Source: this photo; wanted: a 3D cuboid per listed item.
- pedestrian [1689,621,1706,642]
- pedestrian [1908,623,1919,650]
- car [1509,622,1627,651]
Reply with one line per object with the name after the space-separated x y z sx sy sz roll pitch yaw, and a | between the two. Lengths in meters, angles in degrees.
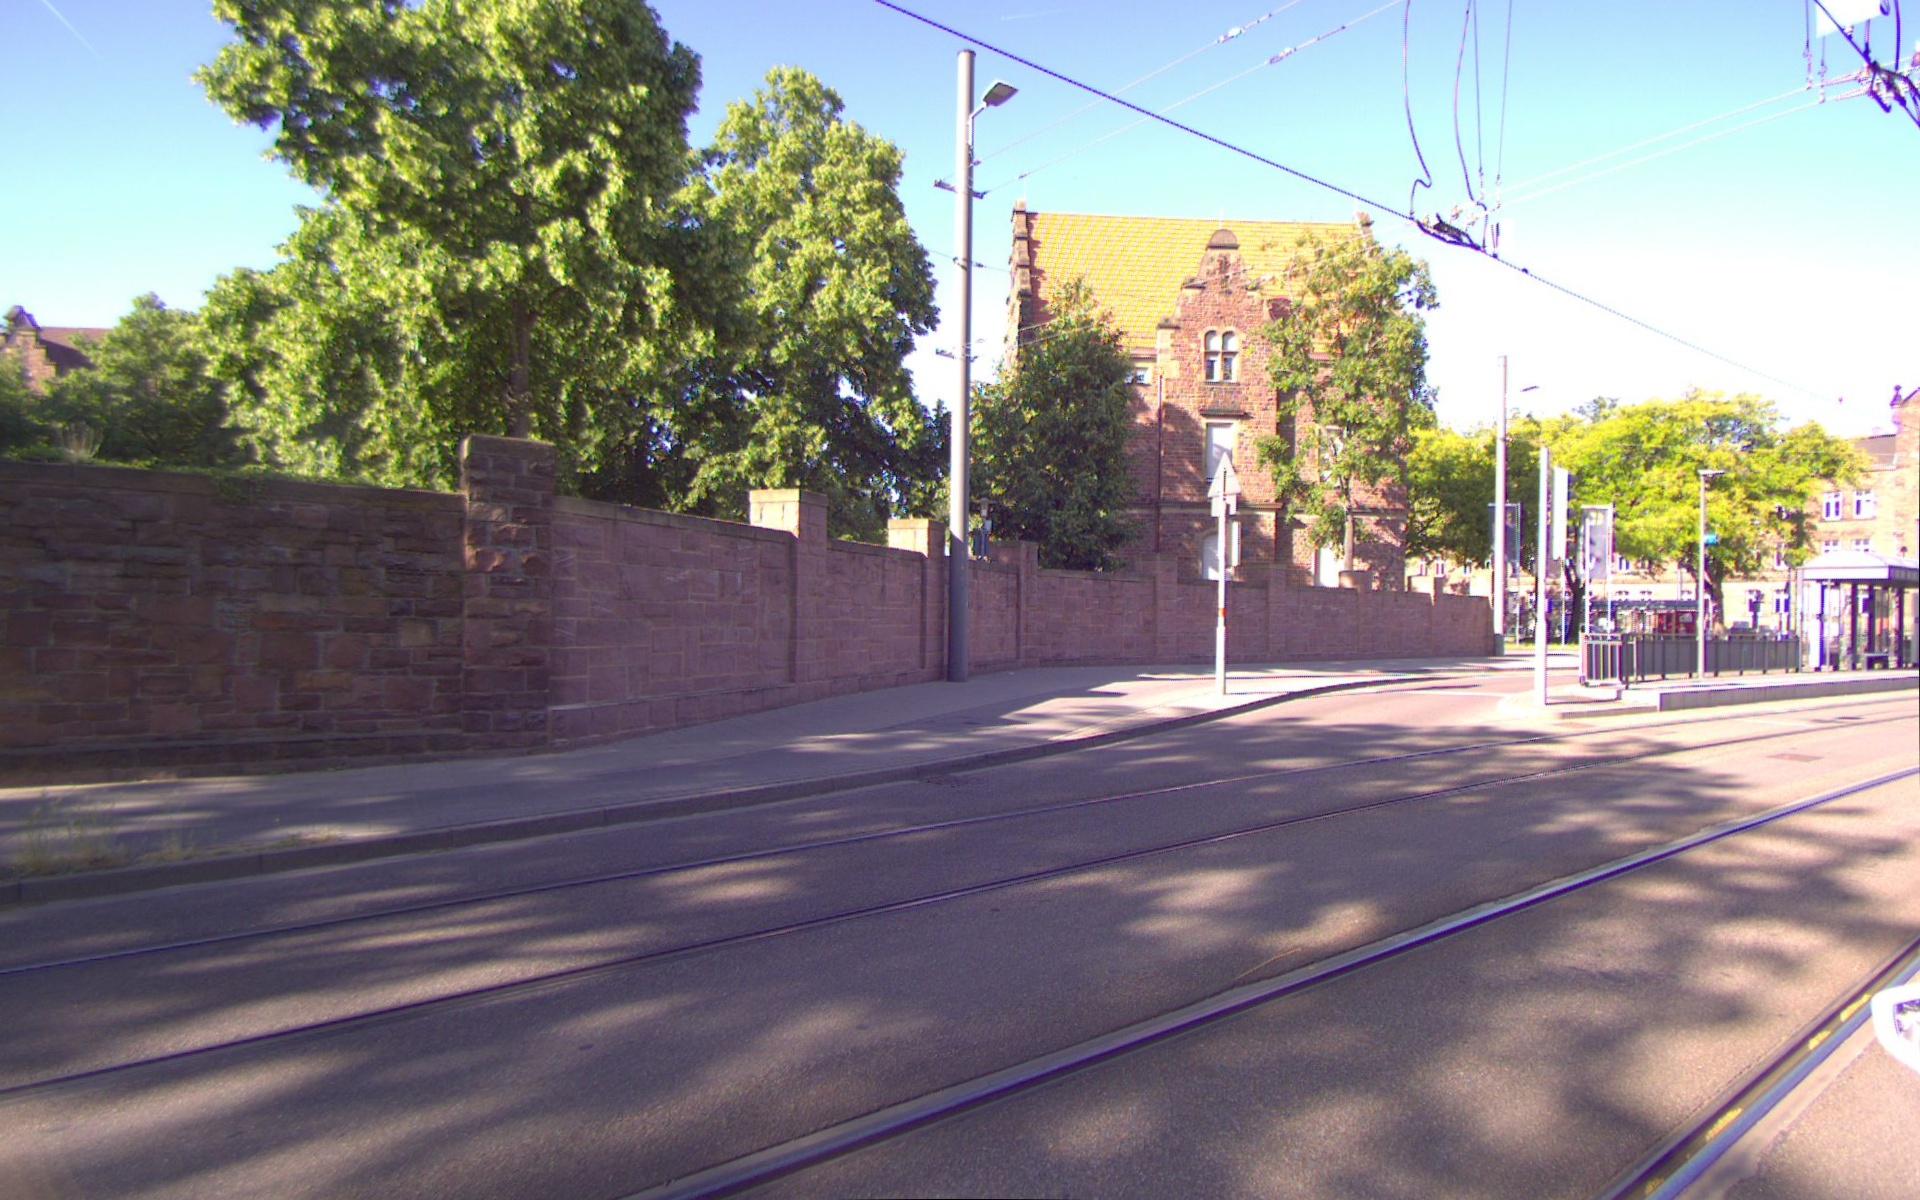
57.687 2.492 78.544 0.799 1.609 0.923 1 -1 -44 | pedestrian
57.712 2.180 60.380 0.924 1.609 0.798 2 0 -32 | pedestrian
44.884 2.645 74.399 2.957 1.946 6.915 1 -1 -30 | car
